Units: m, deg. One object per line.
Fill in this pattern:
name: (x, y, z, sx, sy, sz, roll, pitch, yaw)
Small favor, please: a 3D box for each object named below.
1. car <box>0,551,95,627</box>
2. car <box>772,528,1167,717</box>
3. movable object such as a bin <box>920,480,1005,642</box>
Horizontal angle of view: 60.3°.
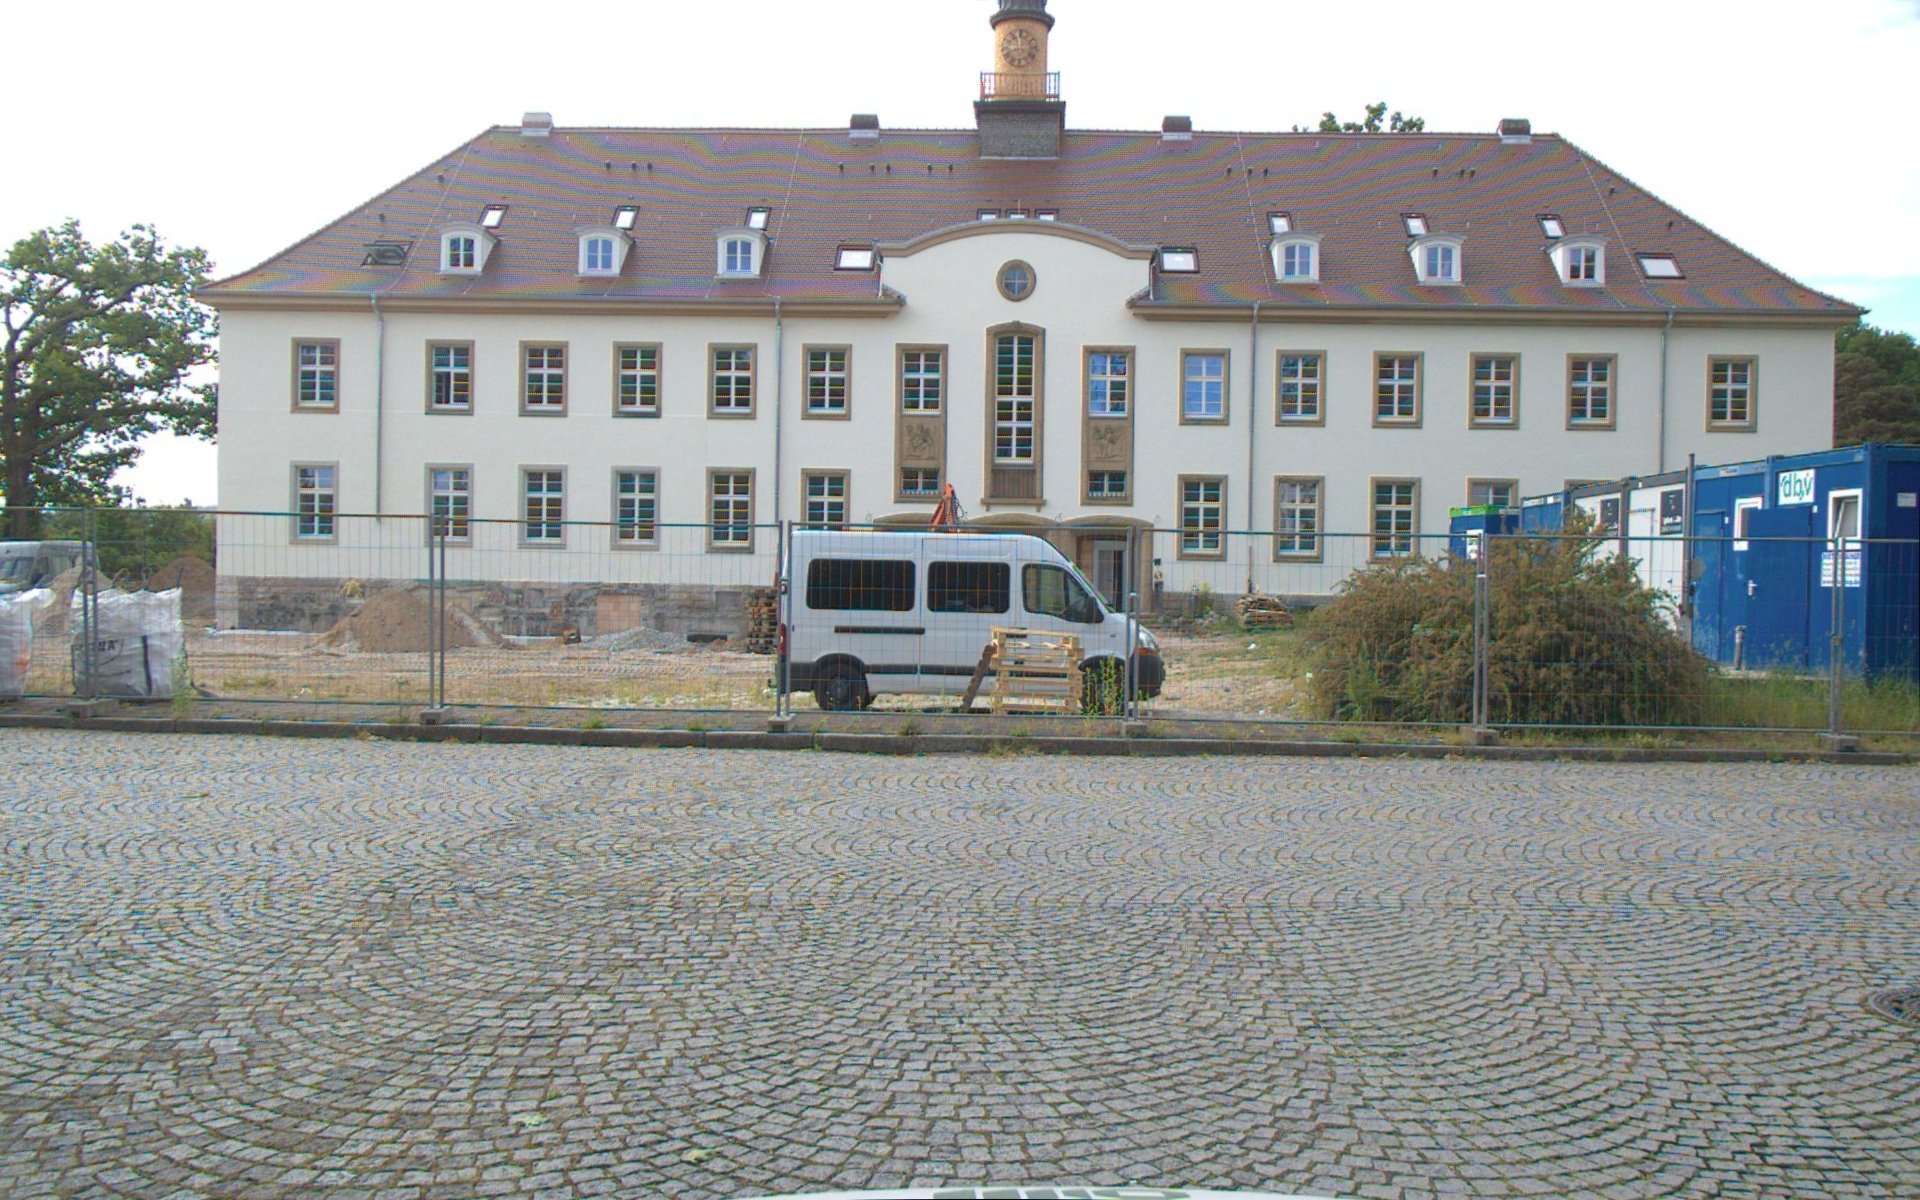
car: (-28.287, -0.352, 49.966, 2.026, 2.188, 4.895, 1, 0, -4)
car: (0.168, 0.279, 22.629, 5.152, 2.385, 1.911, 1, 0, 3)
movable object such as a bin: (0.000, -0.952, 42.309, 1.953, 3.837, 5.316, 1, 0, -2)
